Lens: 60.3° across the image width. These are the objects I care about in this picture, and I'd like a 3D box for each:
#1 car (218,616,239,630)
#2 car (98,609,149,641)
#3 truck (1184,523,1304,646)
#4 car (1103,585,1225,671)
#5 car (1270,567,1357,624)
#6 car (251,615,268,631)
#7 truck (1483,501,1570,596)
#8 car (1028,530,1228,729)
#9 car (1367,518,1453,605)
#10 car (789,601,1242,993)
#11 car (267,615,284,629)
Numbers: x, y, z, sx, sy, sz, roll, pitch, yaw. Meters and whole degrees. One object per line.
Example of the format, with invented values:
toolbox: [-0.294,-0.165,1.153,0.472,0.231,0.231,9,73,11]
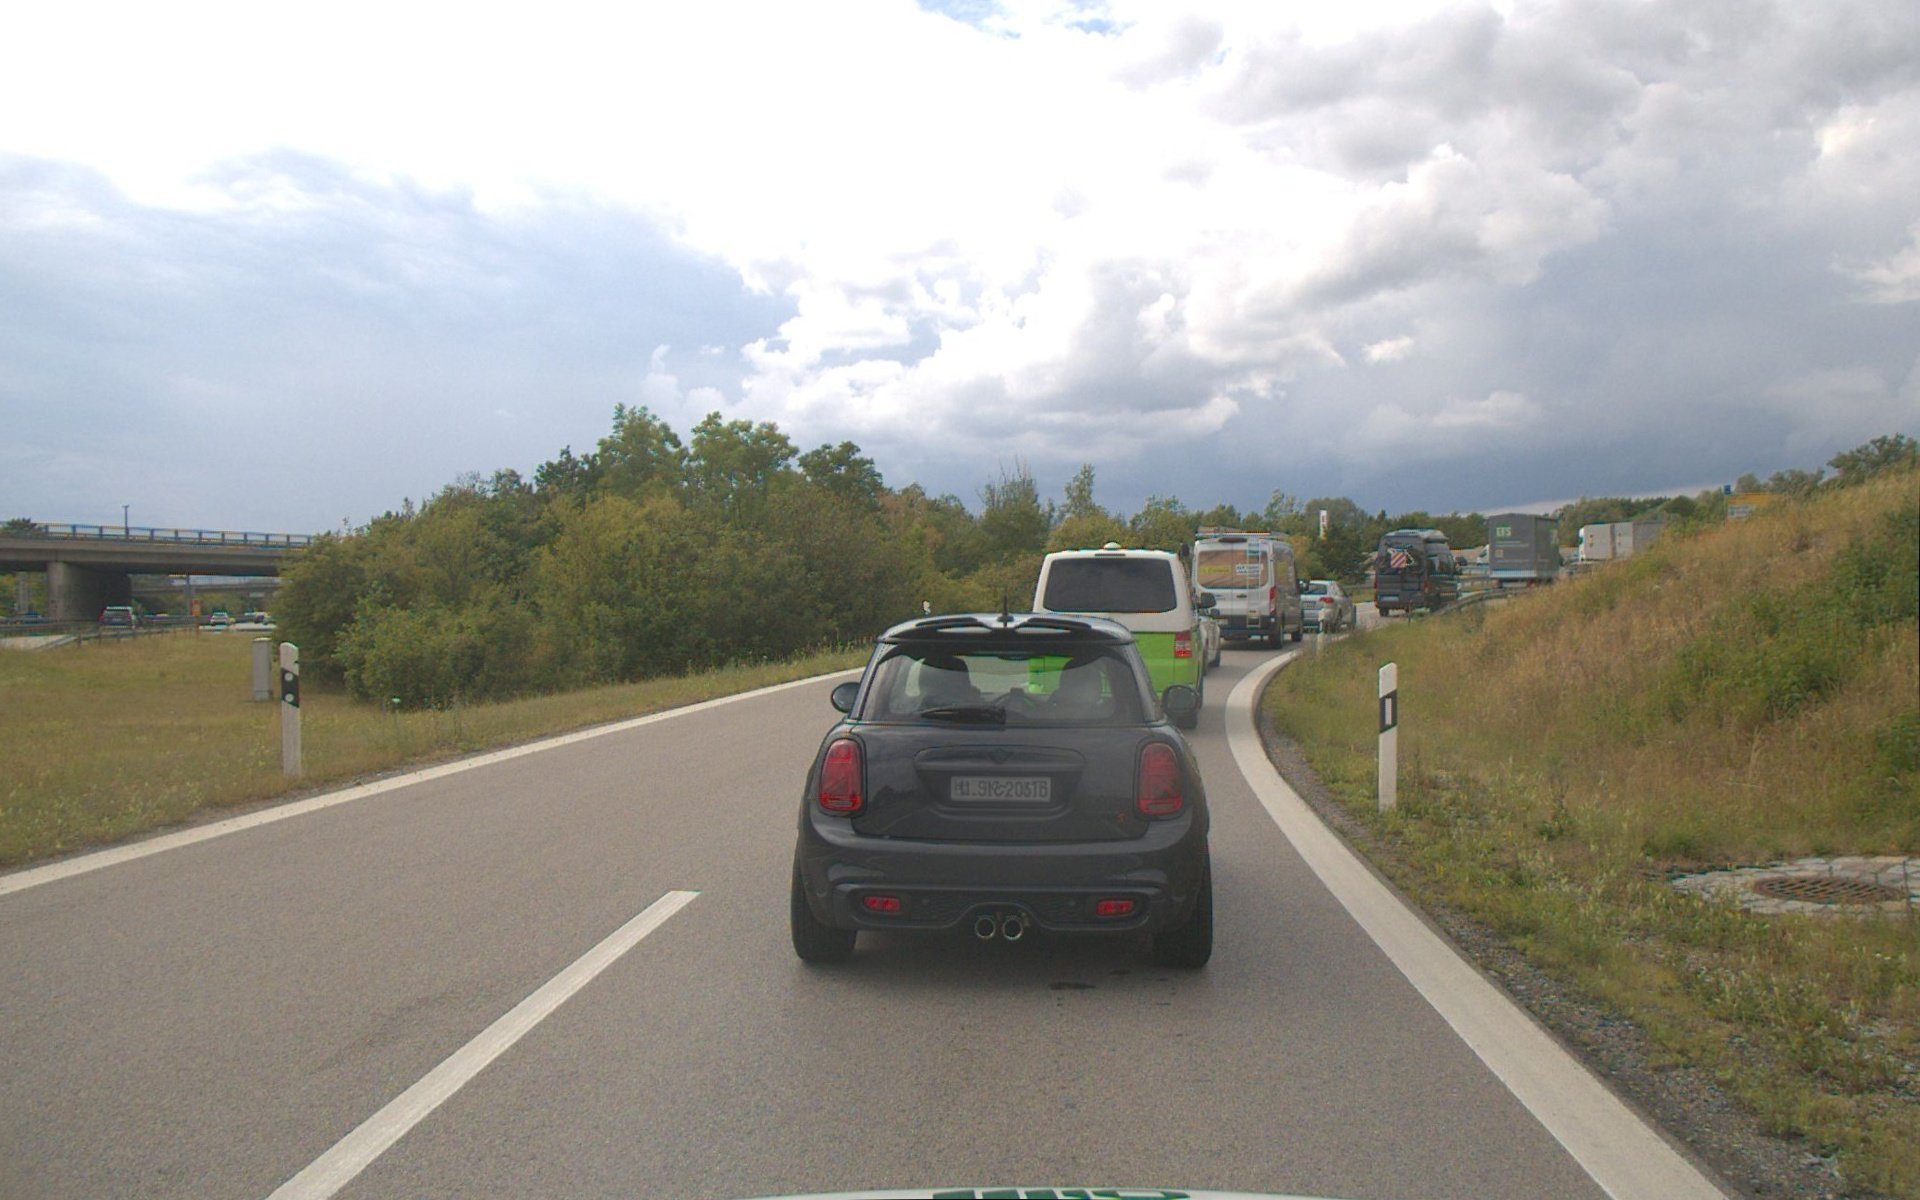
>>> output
car: [-79.167,2.489,179.000,1.809,1.478,4.352,0,0,-20]
car: [-49.204,1.444,97.373,1.963,1.792,4.899,0,0,-18]
truck: [6.799,-0.354,39.181,2.132,2.705,5.111,0,0,17]
car: [3.684,0.475,29.389,1.724,1.423,3.728,0,0,14]
car: [10.127,-0.111,47.197,1.828,1.536,4.000,0,-1,21]
car: [-93.606,3.039,221.090,1.966,2.049,3.972,2,-2,-22]
truck: [26.042,-2.264,75.843,2.190,3.975,5.994,0,-2,35]
car: [2.061,0.315,19.220,1.746,2.049,4.003,0,-1,14]
car: [15.579,-1.287,57.124,2.064,2.845,3.995,1,0,28]
car: [0.361,0.751,8.069,1.690,1.438,3.727,1,-1,5]
car: [-81.686,2.626,197.357,1.692,1.545,3.975,-1,0,-20]
